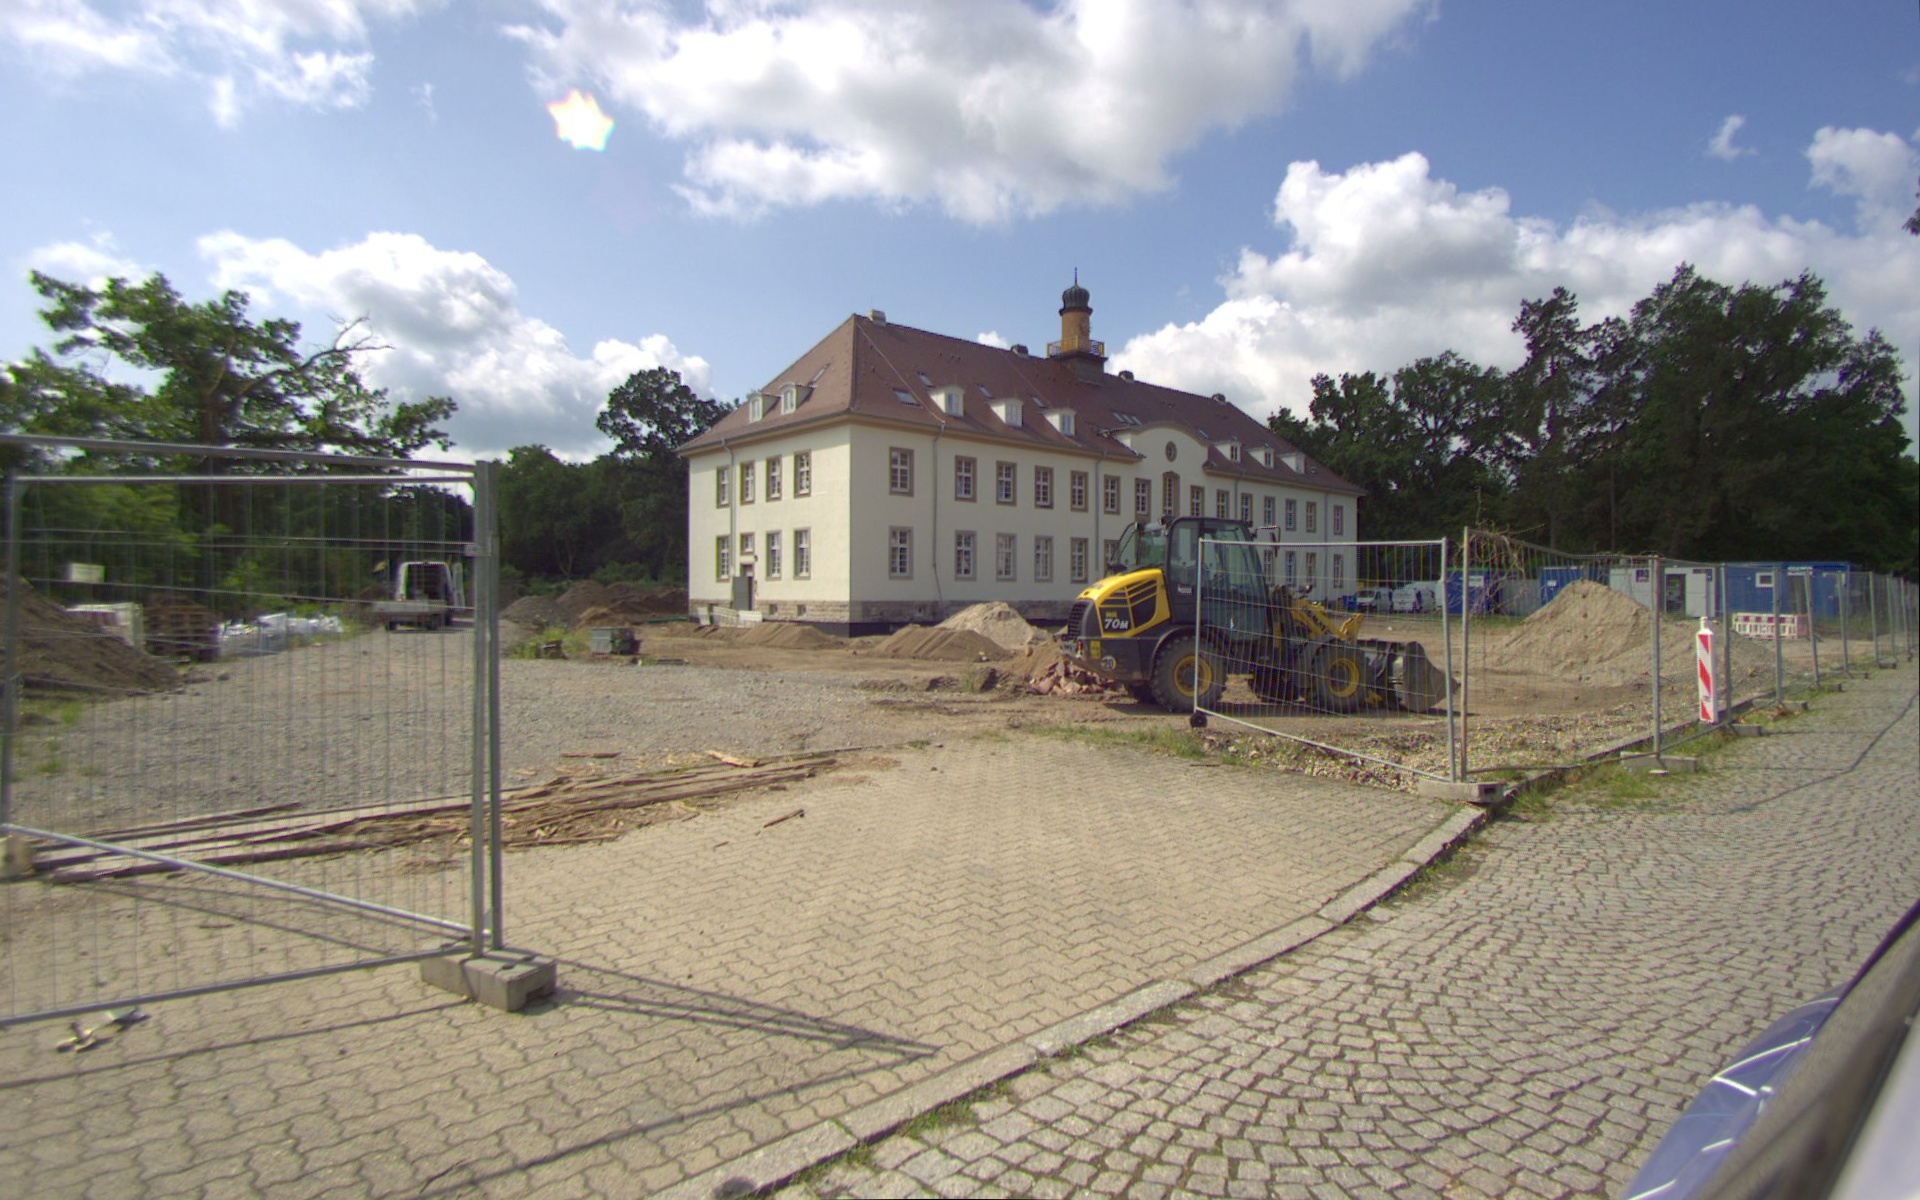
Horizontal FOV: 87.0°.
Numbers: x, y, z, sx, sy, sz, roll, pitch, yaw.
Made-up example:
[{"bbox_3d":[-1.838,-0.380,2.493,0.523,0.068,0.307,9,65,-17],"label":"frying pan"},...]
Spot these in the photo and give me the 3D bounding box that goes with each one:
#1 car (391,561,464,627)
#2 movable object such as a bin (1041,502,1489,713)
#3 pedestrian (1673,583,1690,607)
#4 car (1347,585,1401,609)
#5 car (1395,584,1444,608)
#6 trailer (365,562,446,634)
[{"bbox_3d":[-22.595,-0.279,42.867,2.204,2.623,5.440,0,1,-34],"label":"car"},{"bbox_3d":[4.114,0.123,13.956,5.537,2.553,2.154,1,0,-13],"label":"movable object such as a bin"},{"bbox_3d":[36.921,-0.255,51.804,0.671,1.259,0.601,0,-1,-43],"label":"pedestrian"},{"bbox_3d":[30.789,-0.264,75.210,4.626,1.750,1.883,0,1,-41],"label":"car"},{"bbox_3d":[33.093,-0.290,72.845,3.969,1.704,1.801,0,1,-41],"label":"car"},{"bbox_3d":[-20.676,-0.116,37.911,1.920,2.504,4.855,0,1,-20],"label":"trailer"}]
